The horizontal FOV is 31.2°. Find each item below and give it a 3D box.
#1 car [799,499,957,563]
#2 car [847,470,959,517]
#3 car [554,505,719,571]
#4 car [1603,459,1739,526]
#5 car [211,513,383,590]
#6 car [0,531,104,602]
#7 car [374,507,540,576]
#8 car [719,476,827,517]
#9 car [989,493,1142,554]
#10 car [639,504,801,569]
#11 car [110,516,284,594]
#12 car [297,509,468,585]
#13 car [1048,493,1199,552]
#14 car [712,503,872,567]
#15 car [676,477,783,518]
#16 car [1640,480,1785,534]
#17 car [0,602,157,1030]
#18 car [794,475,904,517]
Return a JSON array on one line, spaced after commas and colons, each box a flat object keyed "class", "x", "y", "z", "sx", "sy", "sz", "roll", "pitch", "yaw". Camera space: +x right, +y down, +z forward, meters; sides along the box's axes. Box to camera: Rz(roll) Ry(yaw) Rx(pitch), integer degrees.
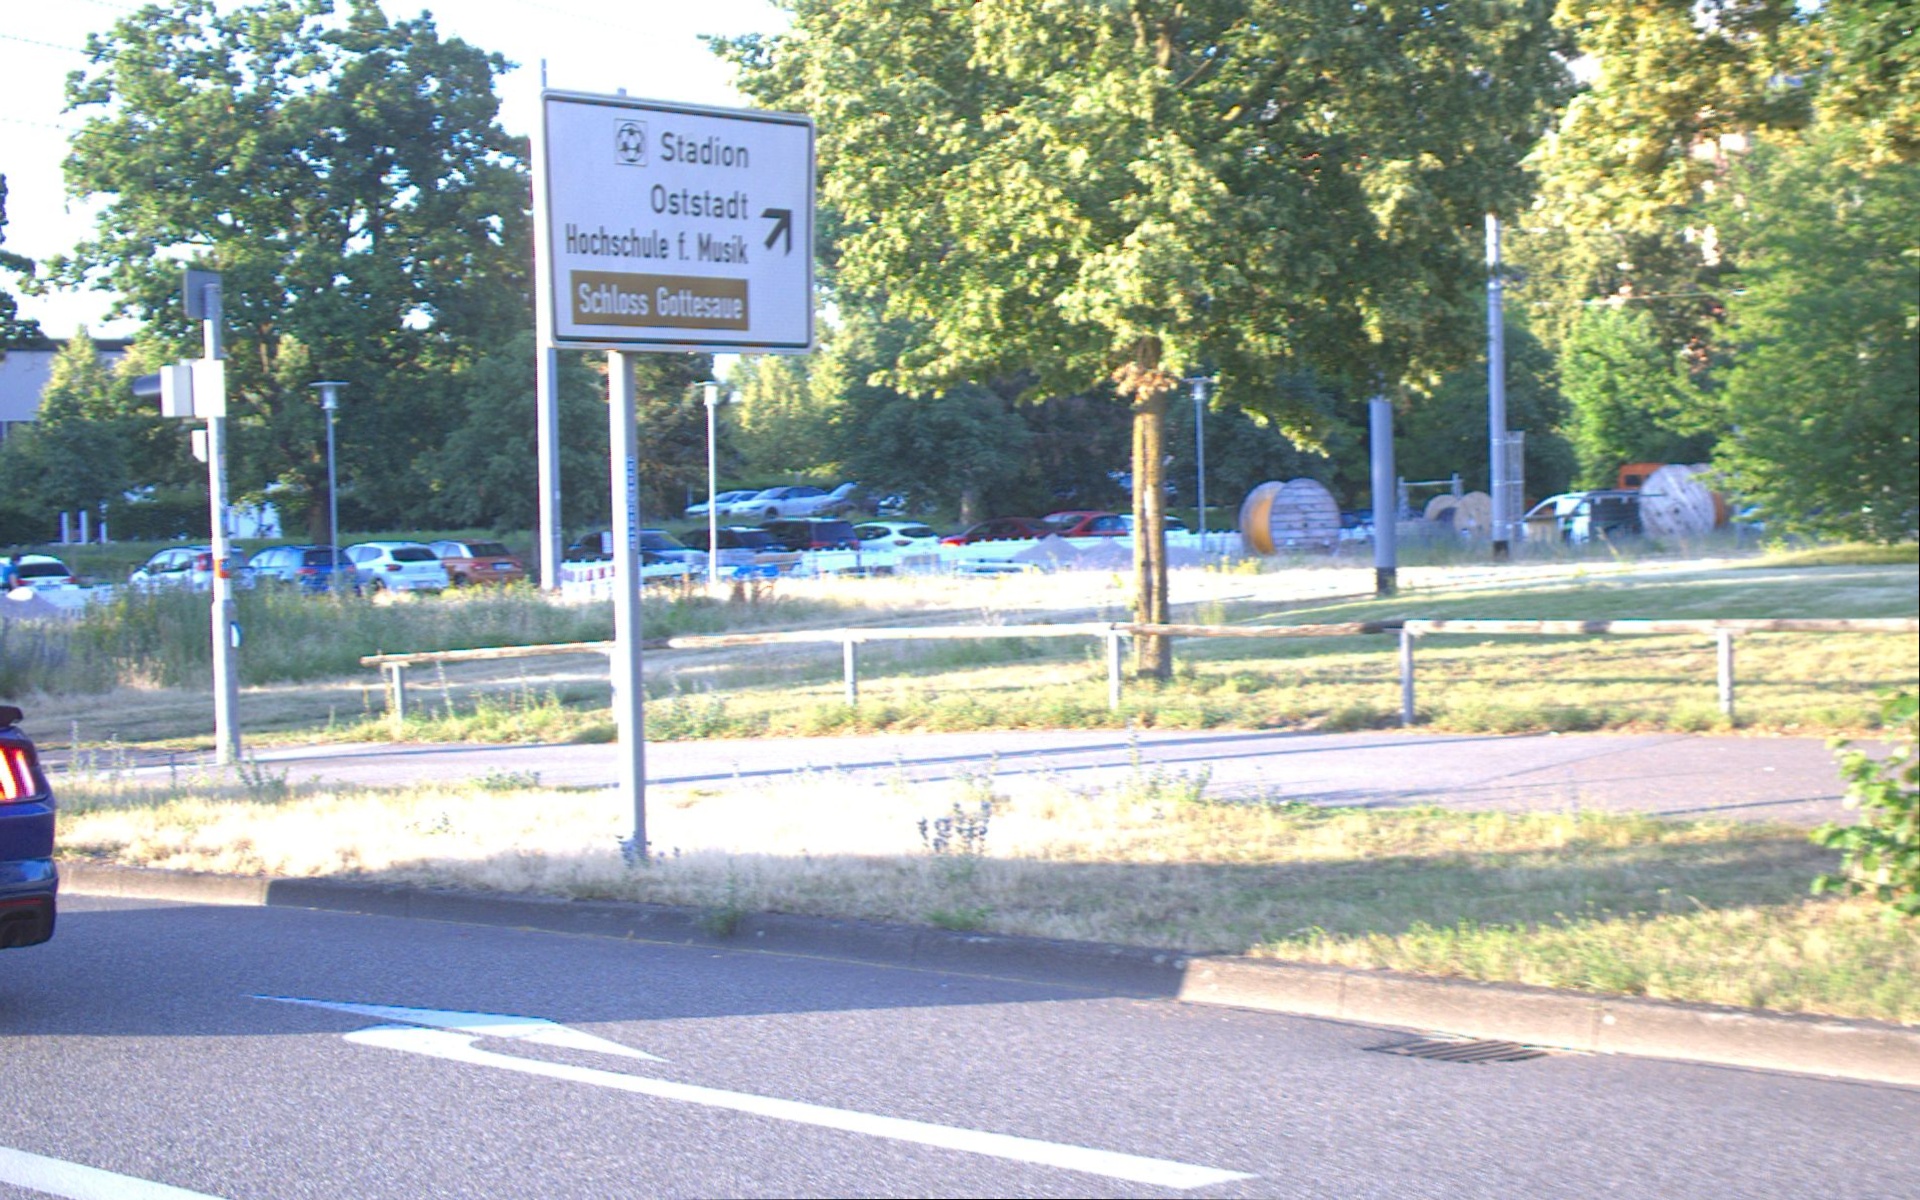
[{"class": "car", "x": -2.200, "y": -1.824, "z": 91.216, "sx": 3.997, "sy": 1.548, "sz": 1.899, "roll": 0, "pitch": 2, "yaw": 44}, {"class": "car", "x": -2.186, "y": -4.109, "z": 132.560, "sx": 3.989, "sy": 1.738, "sz": 1.999, "roll": -3, "pitch": 3, "yaw": -43}, {"class": "car", "x": -8.130, "y": -1.546, "z": 86.206, "sx": 4.096, "sy": 1.548, "sz": 1.899, "roll": 0, "pitch": 2, "yaw": 44}, {"class": "car", "x": 23.593, "y": -3.573, "z": 114.130, "sx": 3.997, "sy": 2.088, "sz": 1.899, "roll": -1, "pitch": 2, "yaw": 44}, {"class": "car", "x": -15.395, "y": -1.114, "z": 79.728, "sx": 3.997, "sy": 1.656, "sz": 1.948, "roll": 0, "pitch": 2, "yaw": 44}, {"class": "car", "x": -20.550, "y": -0.710, "z": 74.681, "sx": 3.997, "sy": 1.440, "sz": 1.948, "roll": 0, "pitch": 2, "yaw": 44}, {"class": "car", "x": -12.198, "y": -1.416, "z": 83.296, "sx": 3.997, "sy": 1.548, "sz": 1.899, "roll": 0, "pitch": 2, "yaw": 44}, {"class": "car", "x": -7.530, "y": -4.181, "z": 138.680, "sx": 3.989, "sy": 1.548, "sz": 1.902, "roll": -3, "pitch": 2, "yaw": -42}, {"class": "car", "x": 2.929, "y": -2.128, "z": 95.859, "sx": 3.997, "sy": 1.548, "sz": 1.899, "roll": 0, "pitch": 2, "yaw": 44}, {"class": "car", "x": -6.129, "y": -1.610, "z": 87.627, "sx": 3.997, "sy": 1.548, "sz": 1.899, "roll": 0, "pitch": 2, "yaw": 44}, {"class": "car", "x": -17.414, "y": -1.016, "z": 78.346, "sx": 3.997, "sy": 1.656, "sz": 1.948, "roll": 0, "pitch": 2, "yaw": 44}, {"class": "car", "x": -13.640, "y": -1.242, "z": 81.114, "sx": 3.997, "sy": 1.656, "sz": 1.948, "roll": 0, "pitch": 2, "yaw": 44}, {"class": "car", "x": 4.631, "y": -2.205, "z": 97.635, "sx": 3.997, "sy": 1.548, "sz": 1.899, "roll": 0, "pitch": 2, "yaw": 44}, {"class": "car", "x": -4.383, "y": -1.681, "z": 89.317, "sx": 3.997, "sy": 1.548, "sz": 1.899, "roll": 0, "pitch": 2, "yaw": 44}, {"class": "car", "x": -9.443, "y": -4.205, "z": 140.973, "sx": 3.989, "sy": 1.548, "sz": 1.902, "roll": -3, "pitch": 2, "yaw": -42}, {"class": "car", "x": 21.021, "y": -2.587, "z": 96.092, "sx": 3.609, "sy": 1.477, "sz": 1.707, "roll": 1, "pitch": 2, "yaw": 41}, {"class": "car", "x": -5.006, "y": 0.697, "z": 12.179, "sx": 4.667, "sy": 1.337, "sz": 1.953, "roll": 0, "pitch": 1, "yaw": 44}, {"class": "car", "x": -4.355, "y": -4.096, "z": 135.170, "sx": 3.989, "sy": 1.548, "sz": 1.902, "roll": -3, "pitch": 2, "yaw": -42}]
